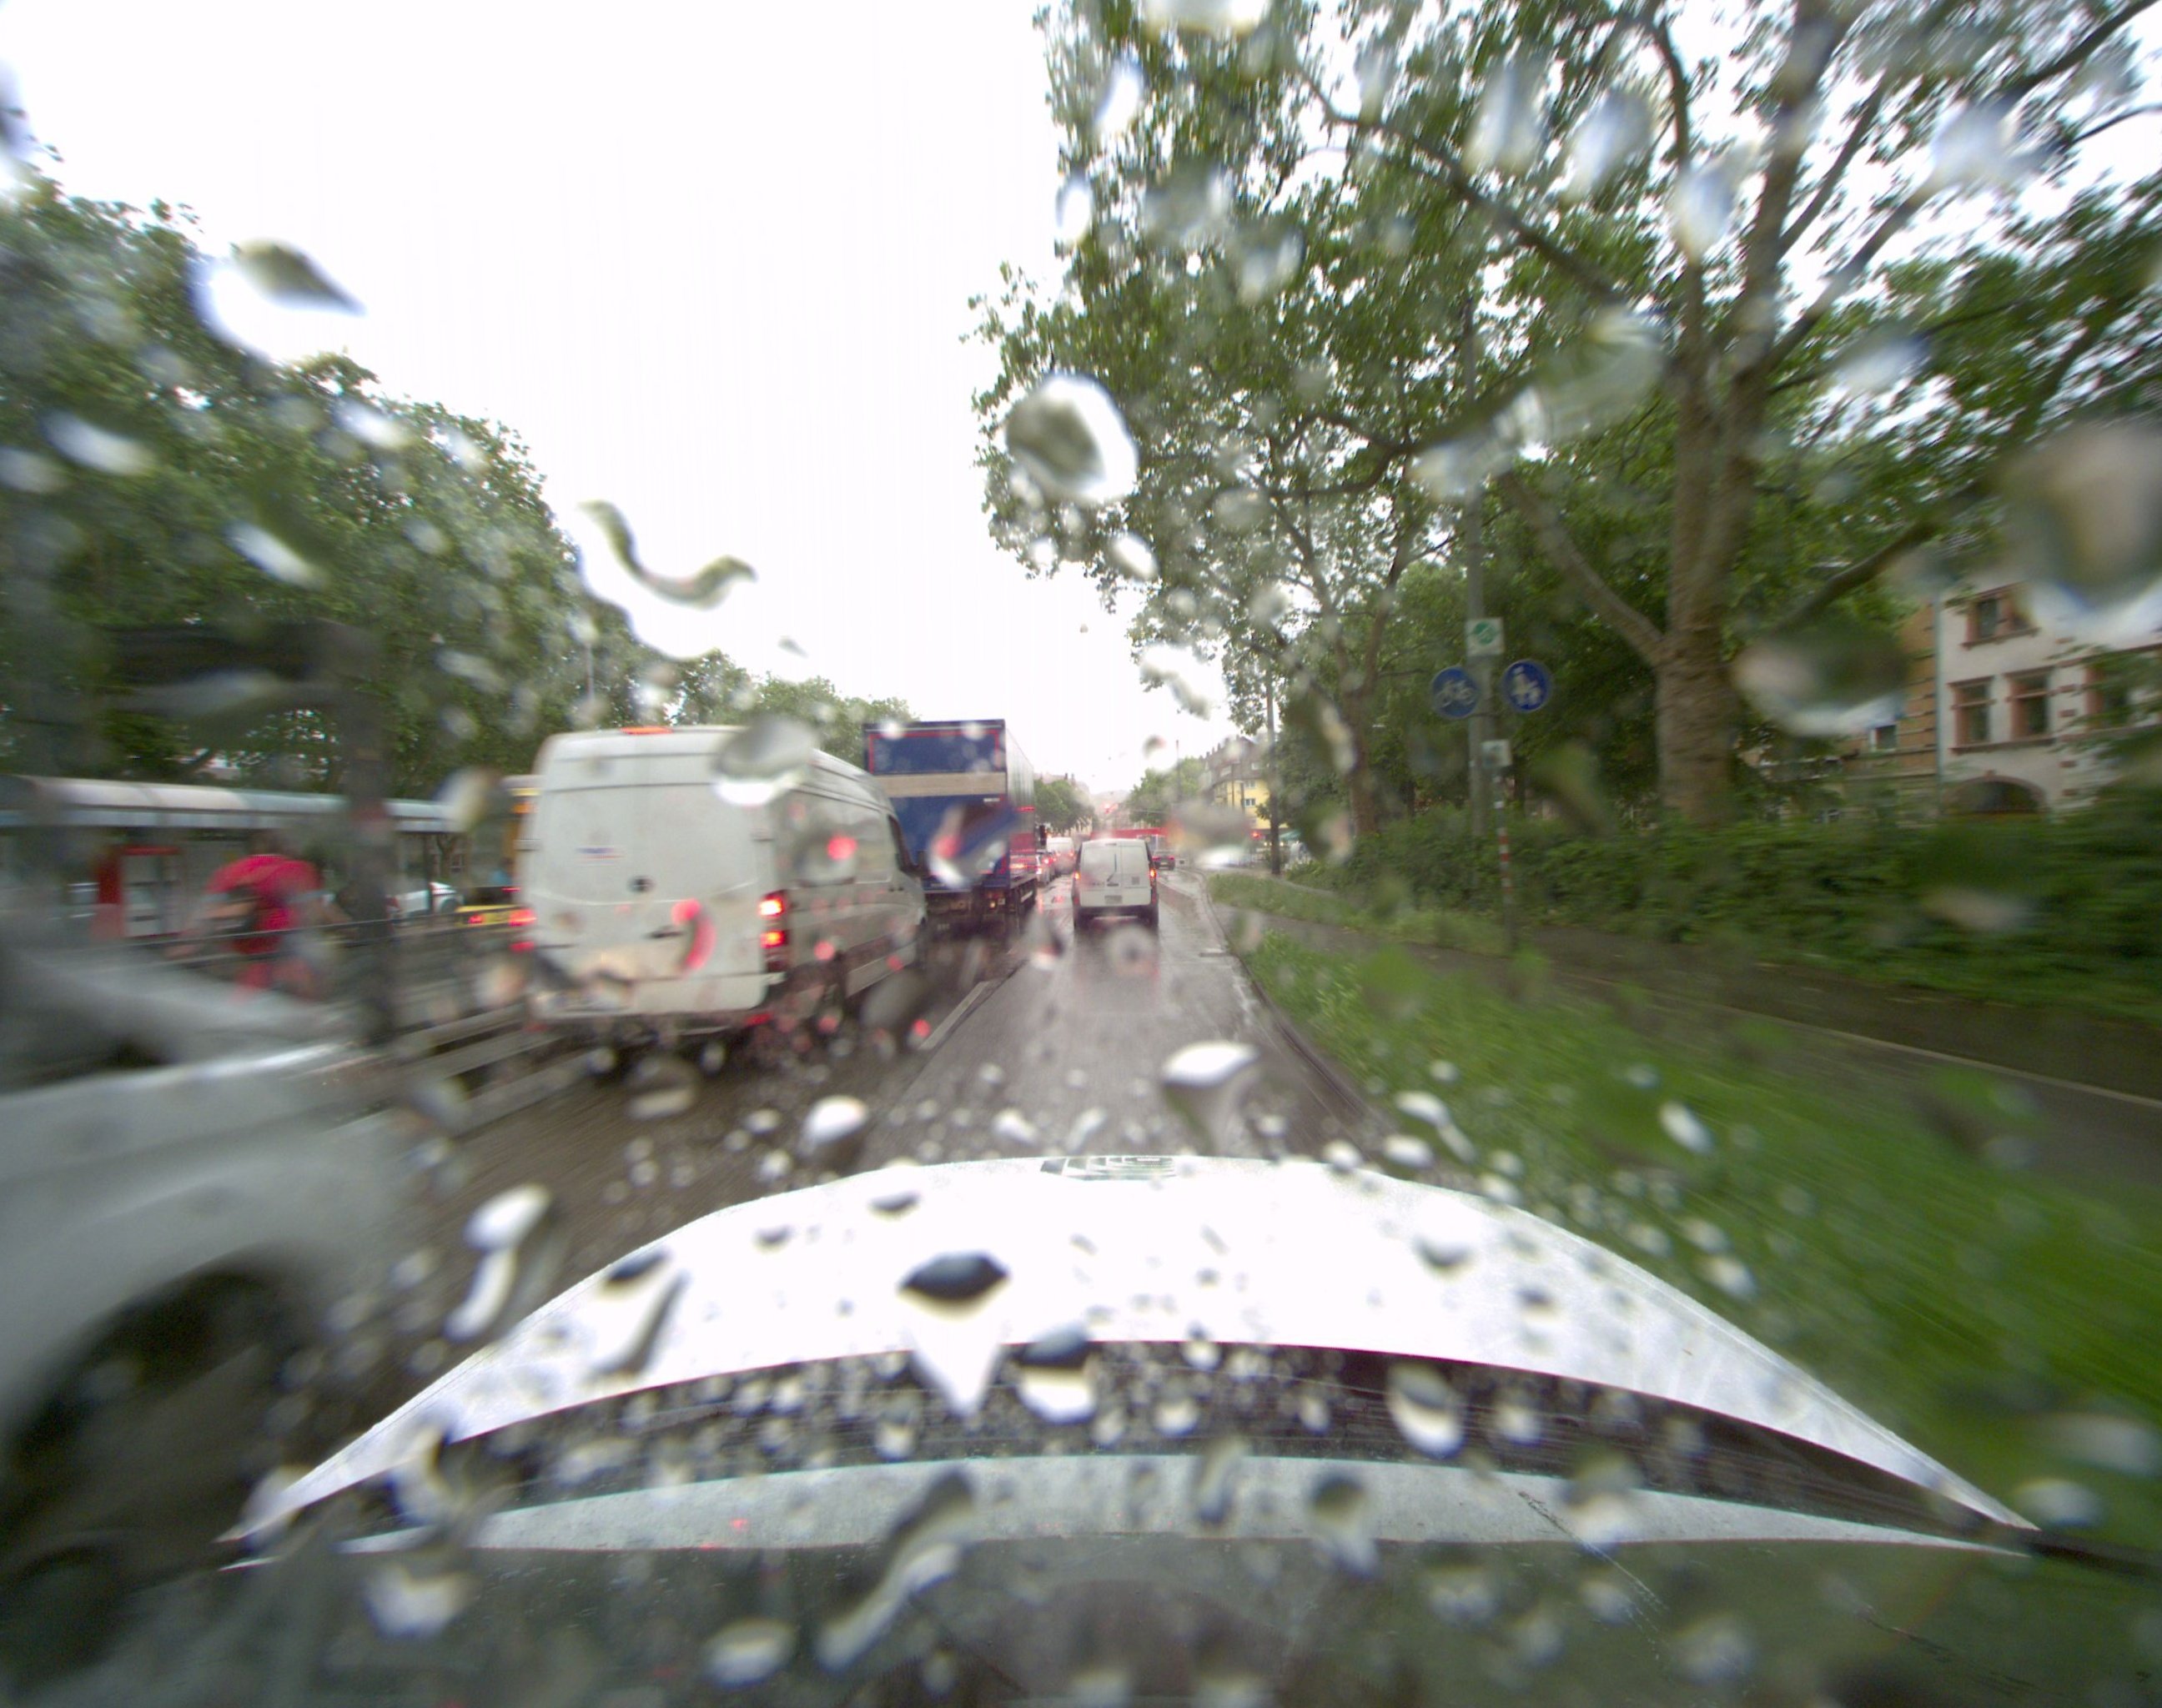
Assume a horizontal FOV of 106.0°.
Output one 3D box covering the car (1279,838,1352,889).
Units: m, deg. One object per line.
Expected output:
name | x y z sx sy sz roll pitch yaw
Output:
car | 12.945 0.464 45.433 2.173 2.532 5.775 -3 1 -1

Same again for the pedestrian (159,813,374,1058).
pedestrian | -6.046 0.574 6.097 0.787 1.714 0.771 0 -1 1

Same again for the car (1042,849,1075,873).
car | -1.502 0.469 55.136 1.986 1.578 4.293 -1 0 1

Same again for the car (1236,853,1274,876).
car | 12.756 0.748 59.952 1.816 1.490 4.353 -3 1 0

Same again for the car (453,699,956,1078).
car | -3.082 0.272 8.687 2.321 2.557 6.116 -2 -1 2

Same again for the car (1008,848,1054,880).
car | -2.549 0.513 42.567 1.986 1.578 4.293 -1 0 1

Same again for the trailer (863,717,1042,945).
trailer | -2.411 -0.425 17.994 2.582 3.899 7.636 -1 0 0

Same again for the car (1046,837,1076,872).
car | -1.420 0.030 60.659 1.986 2.442 4.613 -1 0 1

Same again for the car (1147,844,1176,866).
car | 5.897 0.070 59.791 1.984 1.542 4.006 -2 0 5

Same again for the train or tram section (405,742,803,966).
train or tram section | -8.780 -0.066 16.730 2.951 3.285 8.361 -3 1 1

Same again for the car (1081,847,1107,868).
car | 1.031 0.279 62.449 1.752 1.469 3.537 -1 0 4

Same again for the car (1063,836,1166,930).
car | 0.694 0.592 17.609 1.952 1.777 3.570 -2 -1 1

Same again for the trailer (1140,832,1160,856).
trailer | 7.276 -1.021 86.002 1.984 2.317 4.674 -2 -1 5

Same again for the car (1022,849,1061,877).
car | -2.292 0.527 48.540 1.986 1.578 4.293 -1 0 1

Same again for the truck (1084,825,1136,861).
truck | 4.247 -1.586 119.327 3.308 4.899 7.092 -4 1 -44

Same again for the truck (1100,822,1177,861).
truck | 7.999 -1.744 115.376 3.308 4.899 11.259 -4 1 -44

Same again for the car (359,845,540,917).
car | -21.831 0.853 28.519 1.985 2.223 5.229 -2 0 4

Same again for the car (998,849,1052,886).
car | -2.442 0.552 36.602 1.986 1.472 4.268 -1 1 1

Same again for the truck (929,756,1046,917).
truck | -2.384 -0.448 22.085 2.572 3.904 4.000 -1 0 0

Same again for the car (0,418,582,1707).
car | -2.805 0.415 0.160 1.986 2.262 5.290 -2 -1 2
